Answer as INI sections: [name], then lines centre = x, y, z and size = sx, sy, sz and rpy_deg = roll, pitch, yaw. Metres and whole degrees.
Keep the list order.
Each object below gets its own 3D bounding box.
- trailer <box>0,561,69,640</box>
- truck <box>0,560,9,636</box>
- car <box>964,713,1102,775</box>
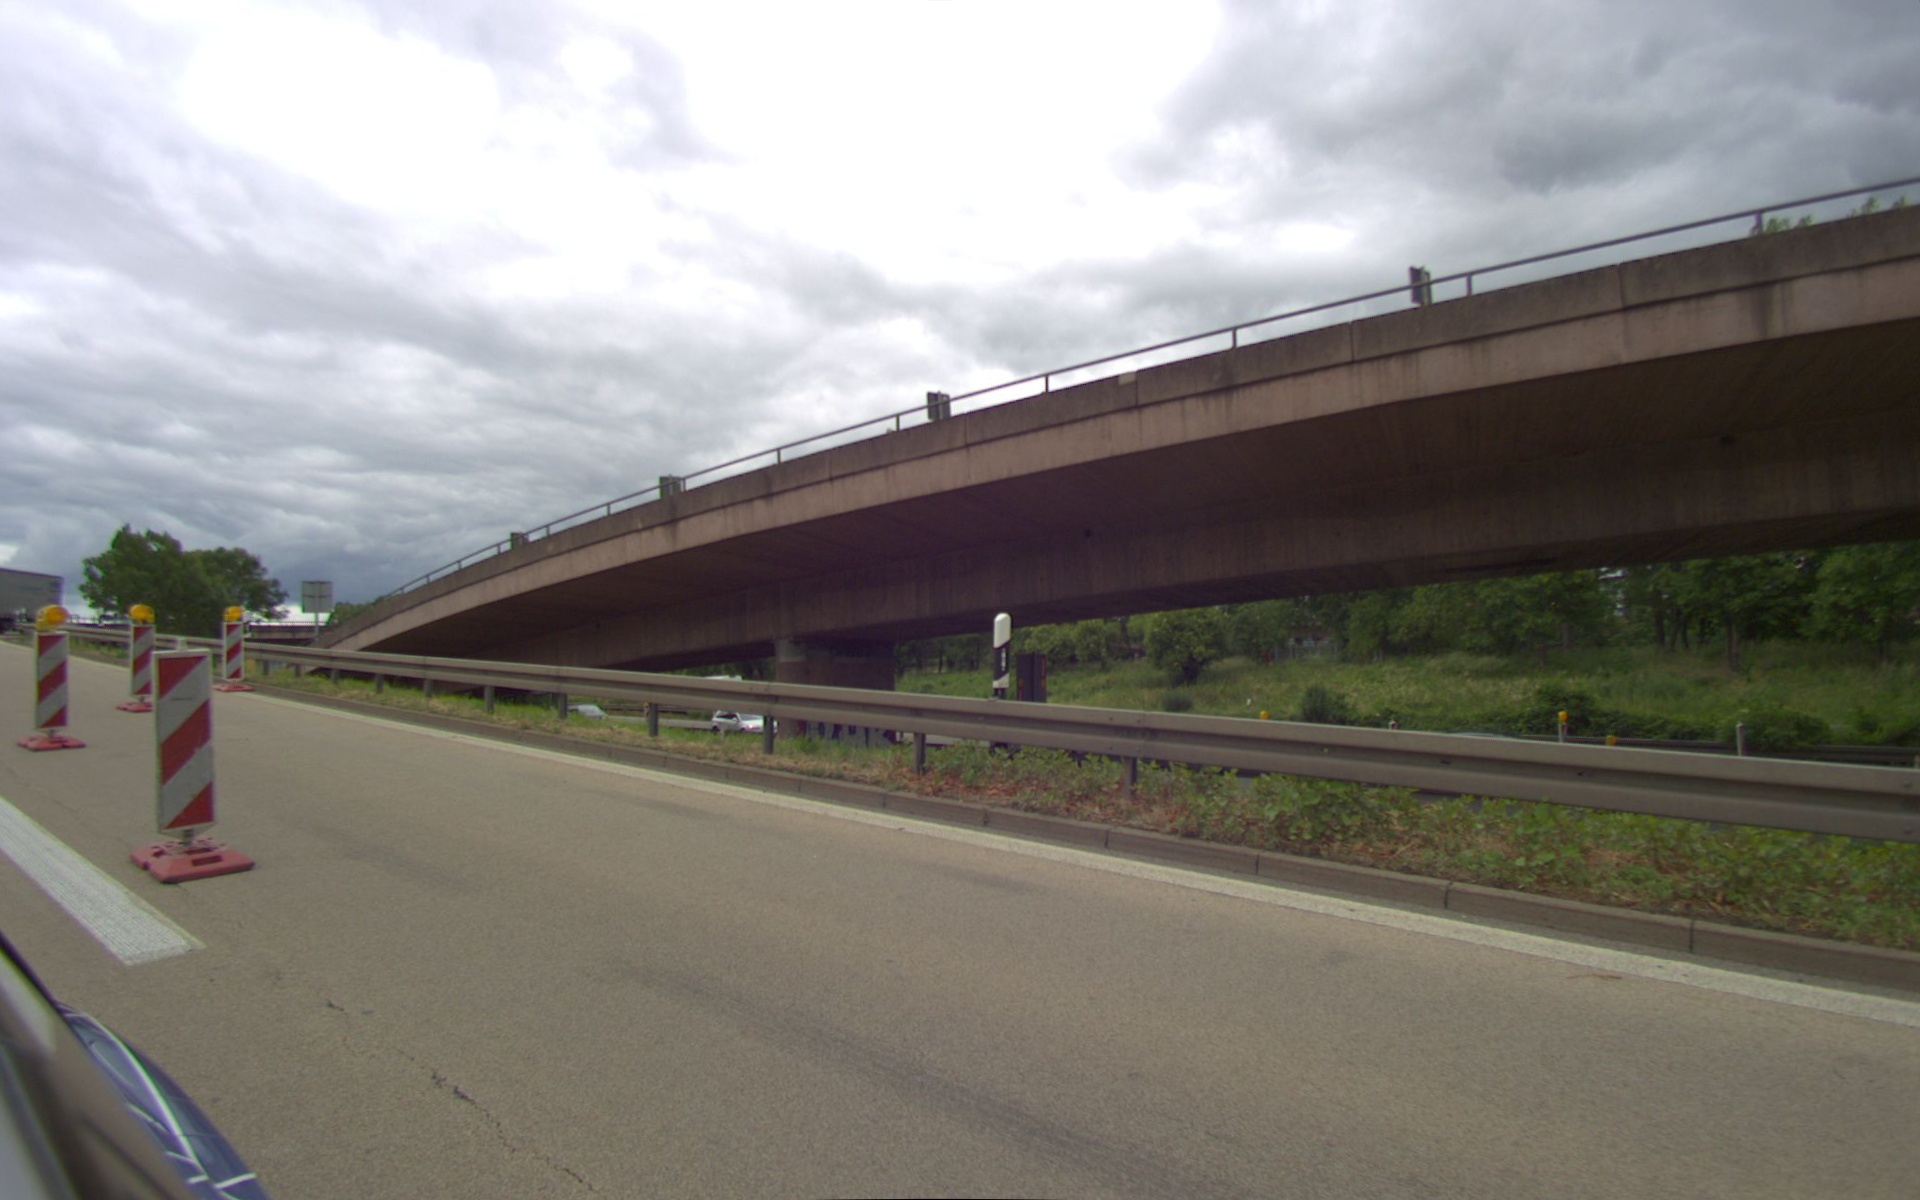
[trailer]
centre = -59.861, 0.140, 62.240
size = 4.057, 4.277, 13.934
rpy_deg = -1, -3, -26
[truck]
centre = -56.608, -0.222, 56.125
size = 4.095, 4.336, 5.984
rpy_deg = 0, -3, -27
[car]
centre = 2.287, 4.577, 32.662
size = 2.012, 1.627, 4.301
rpy_deg = 0, -4, -40
